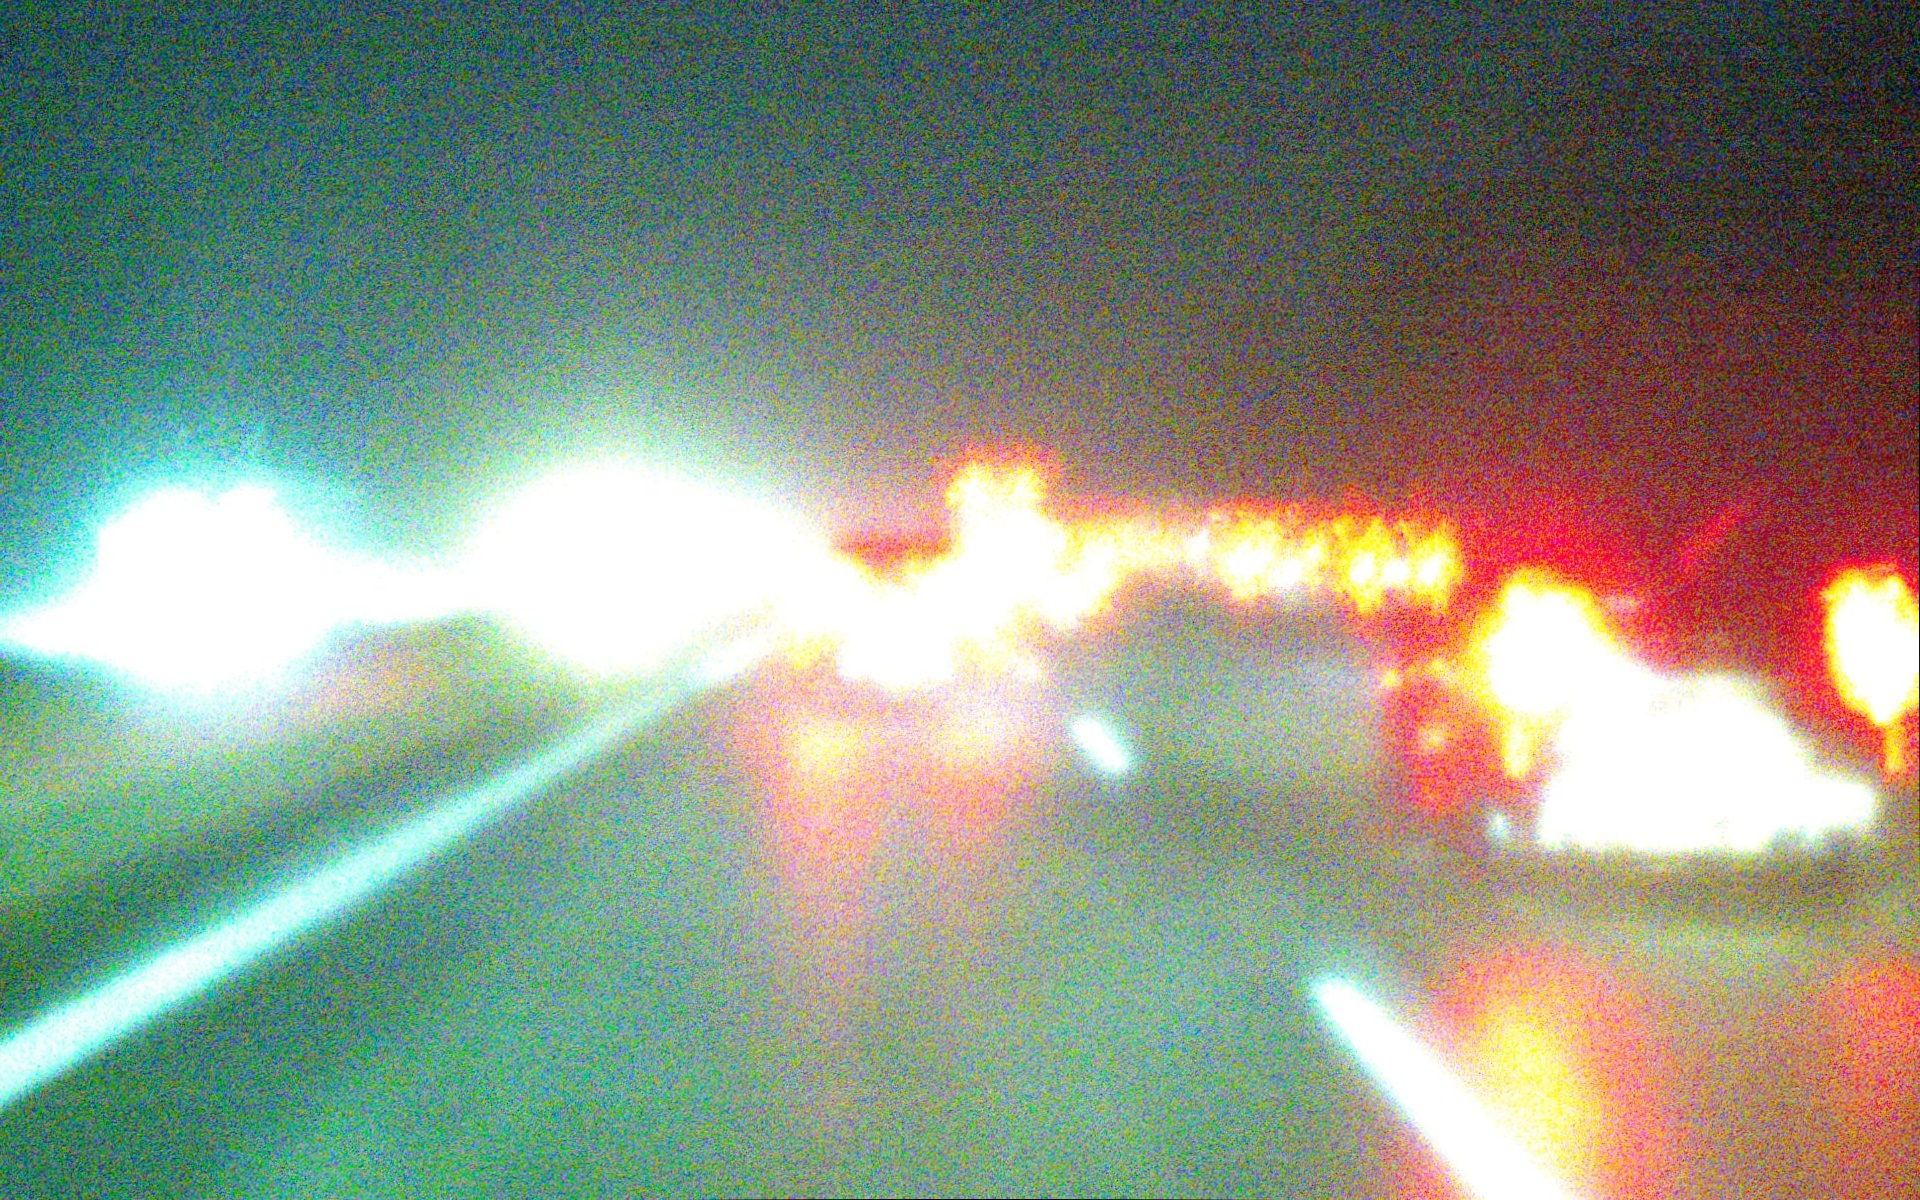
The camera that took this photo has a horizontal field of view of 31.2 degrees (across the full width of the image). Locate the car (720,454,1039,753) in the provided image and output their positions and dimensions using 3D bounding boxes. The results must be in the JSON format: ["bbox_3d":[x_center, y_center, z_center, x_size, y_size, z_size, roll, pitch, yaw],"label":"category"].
[{"bbox_3d":[-0.804,-0.047,32.954,2.709,2.525,5.832,-2,1,-2],"label":"car"}]

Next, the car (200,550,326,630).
[{"bbox_3d":[-14.259,-0.220,70.484,1.797,1.568,3.974,-1,1,-1],"label":"car"}]

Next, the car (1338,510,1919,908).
[{"bbox_3d":[2.937,0.402,15.817,1.884,1.583,4.000,1,1,-1],"label":"car"}]

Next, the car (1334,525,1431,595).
[{"bbox_3d":[10.245,-0.973,83.551,1.856,1.612,4.000,1,1,0],"label":"car"}]

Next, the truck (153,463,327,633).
[{"bbox_3d":[-18.212,-1.356,87.418,2.921,4.080,6.994,-1,1,-1],"label":"truck"}]

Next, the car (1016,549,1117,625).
[{"bbox_3d":[2.365,-0.310,77.361,2.137,1.612,4.000,1,1,0],"label":"car"}]

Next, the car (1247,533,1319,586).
[{"bbox_3d":[10.171,-1.272,108.502,1.856,1.612,4.000,1,1,0],"label":"car"}]
